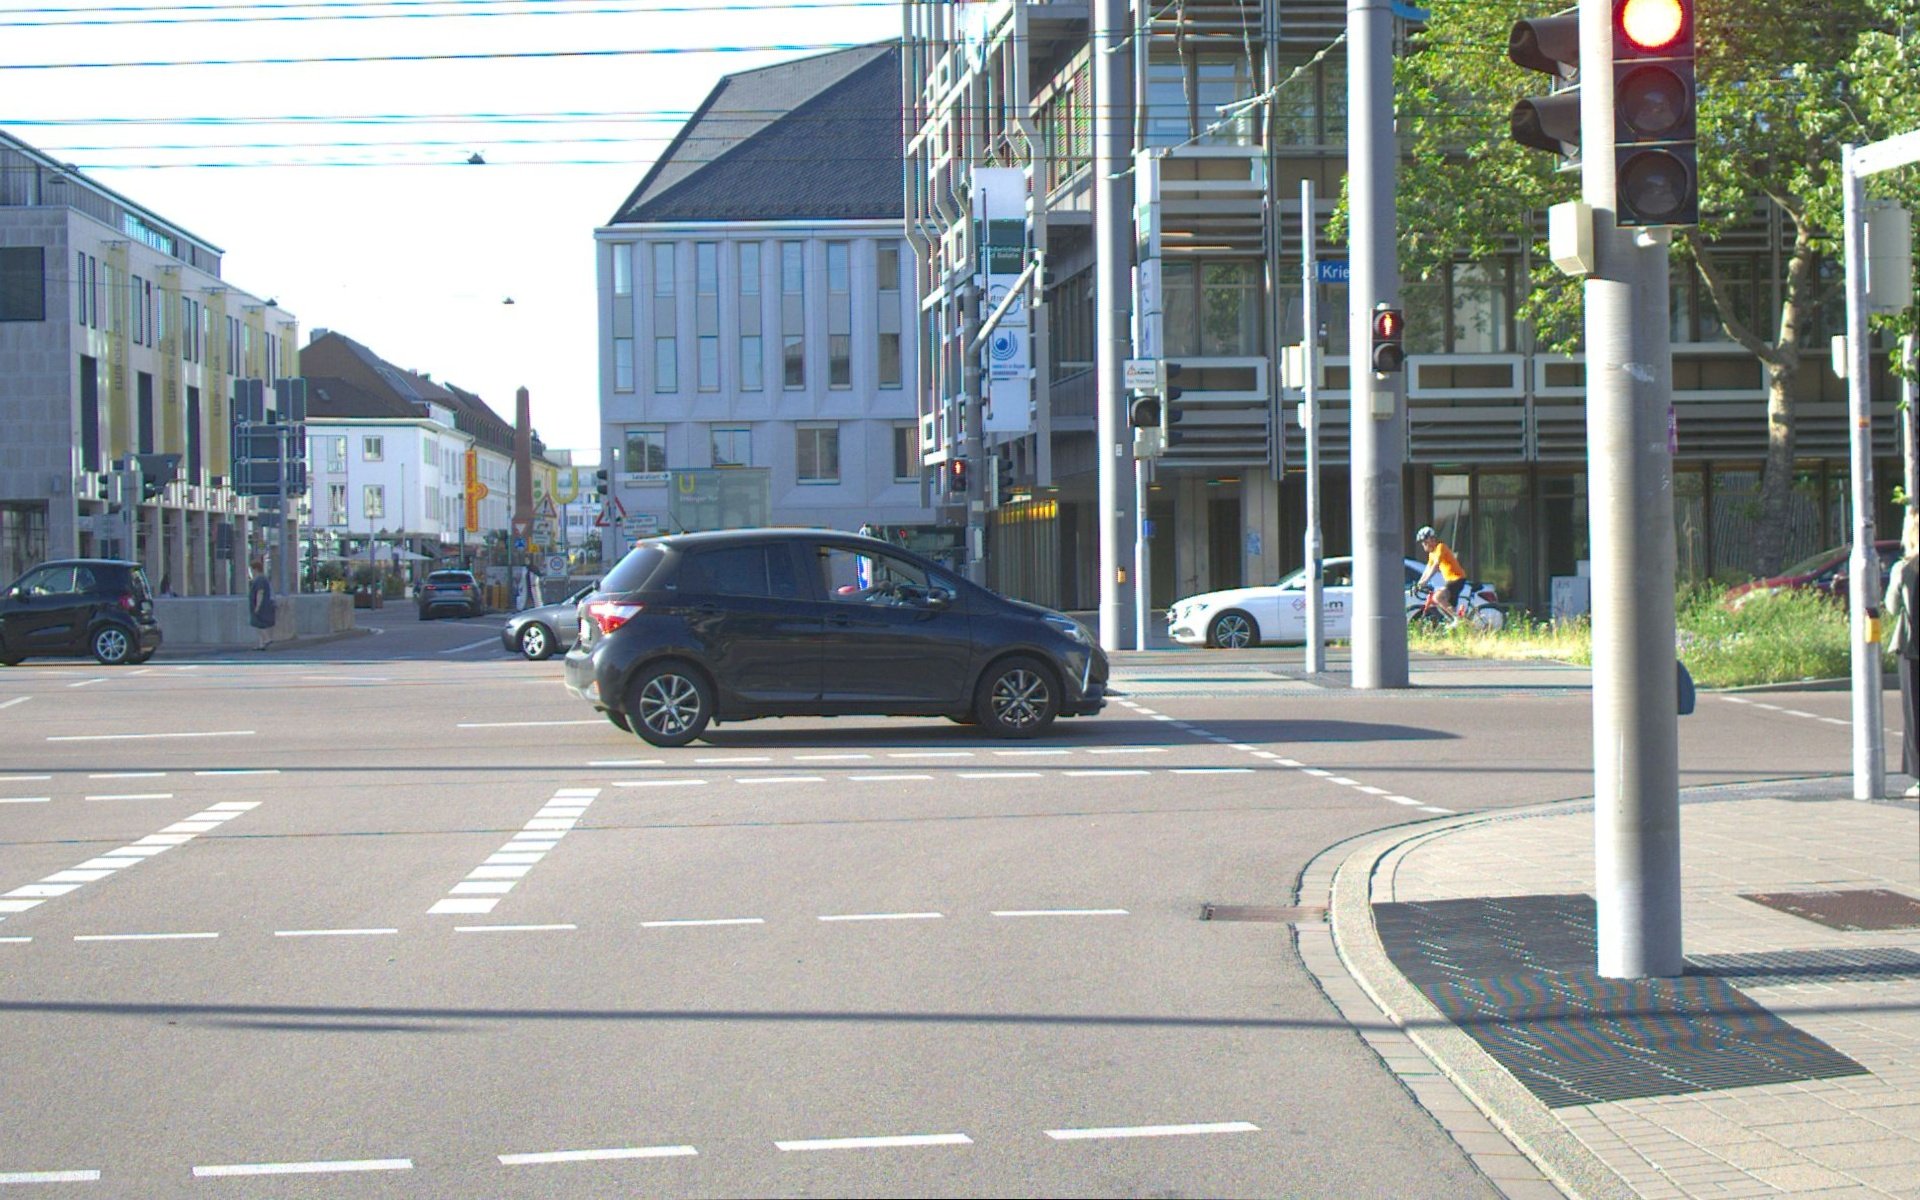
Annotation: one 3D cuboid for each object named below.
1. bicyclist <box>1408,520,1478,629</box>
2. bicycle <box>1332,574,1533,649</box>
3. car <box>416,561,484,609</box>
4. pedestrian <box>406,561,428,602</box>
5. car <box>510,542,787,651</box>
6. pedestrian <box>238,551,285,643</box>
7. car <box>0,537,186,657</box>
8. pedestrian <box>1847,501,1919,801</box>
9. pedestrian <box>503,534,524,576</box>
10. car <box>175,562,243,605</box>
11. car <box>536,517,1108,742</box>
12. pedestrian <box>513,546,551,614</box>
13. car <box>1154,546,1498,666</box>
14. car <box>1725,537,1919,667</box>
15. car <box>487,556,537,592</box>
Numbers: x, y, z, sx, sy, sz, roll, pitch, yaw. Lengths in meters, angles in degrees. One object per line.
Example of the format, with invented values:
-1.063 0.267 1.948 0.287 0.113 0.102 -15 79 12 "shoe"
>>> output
6.617 -0.355 47.128 0.822 1.469 0.652 -1 1 -4 "bicyclist"
6.467 0.154 47.118 2.568 0.972 1.047 -1 1 -3 "bicycle"
-16.015 -0.478 108.079 1.658 1.453 3.542 -1 1 -1 "car"
-25.988 -0.881 164.488 0.910 1.958 0.823 -1 1 -1 "pedestrian"
-4.968 -0.060 54.908 3.991 1.678 1.823 0 1 21 "car"
-12.868 -0.054 63.336 0.700 1.682 0.619 -1 1 0 "pedestrian"
-13.643 -0.044 49.983 4.403 1.678 1.826 -1 1 -3 "car"
5.387 0.264 18.883 0.765 1.608 0.874 -1 1 -2 "pedestrian"
-21.393 -2.153 164.686 0.910 1.958 0.823 1 0 -1 "pedestrian"
-26.523 -0.601 121.496 1.658 1.453 3.542 -1 1 -1 "car"
-1.028 0.181 24.844 3.860 1.505 1.672 -1 1 -13 "car"
-11.368 -0.540 91.295 0.899 1.776 0.808 -1 1 -1 "pedestrian"
5.386 0.072 50.997 4.844 1.678 1.826 -1 1 -2 "car"
12.742 -0.003 46.483 4.287 1.678 1.826 -1 1 -11 "car"
-18.979 -1.118 145.719 1.658 1.453 3.542 -1 1 -1 "car"
